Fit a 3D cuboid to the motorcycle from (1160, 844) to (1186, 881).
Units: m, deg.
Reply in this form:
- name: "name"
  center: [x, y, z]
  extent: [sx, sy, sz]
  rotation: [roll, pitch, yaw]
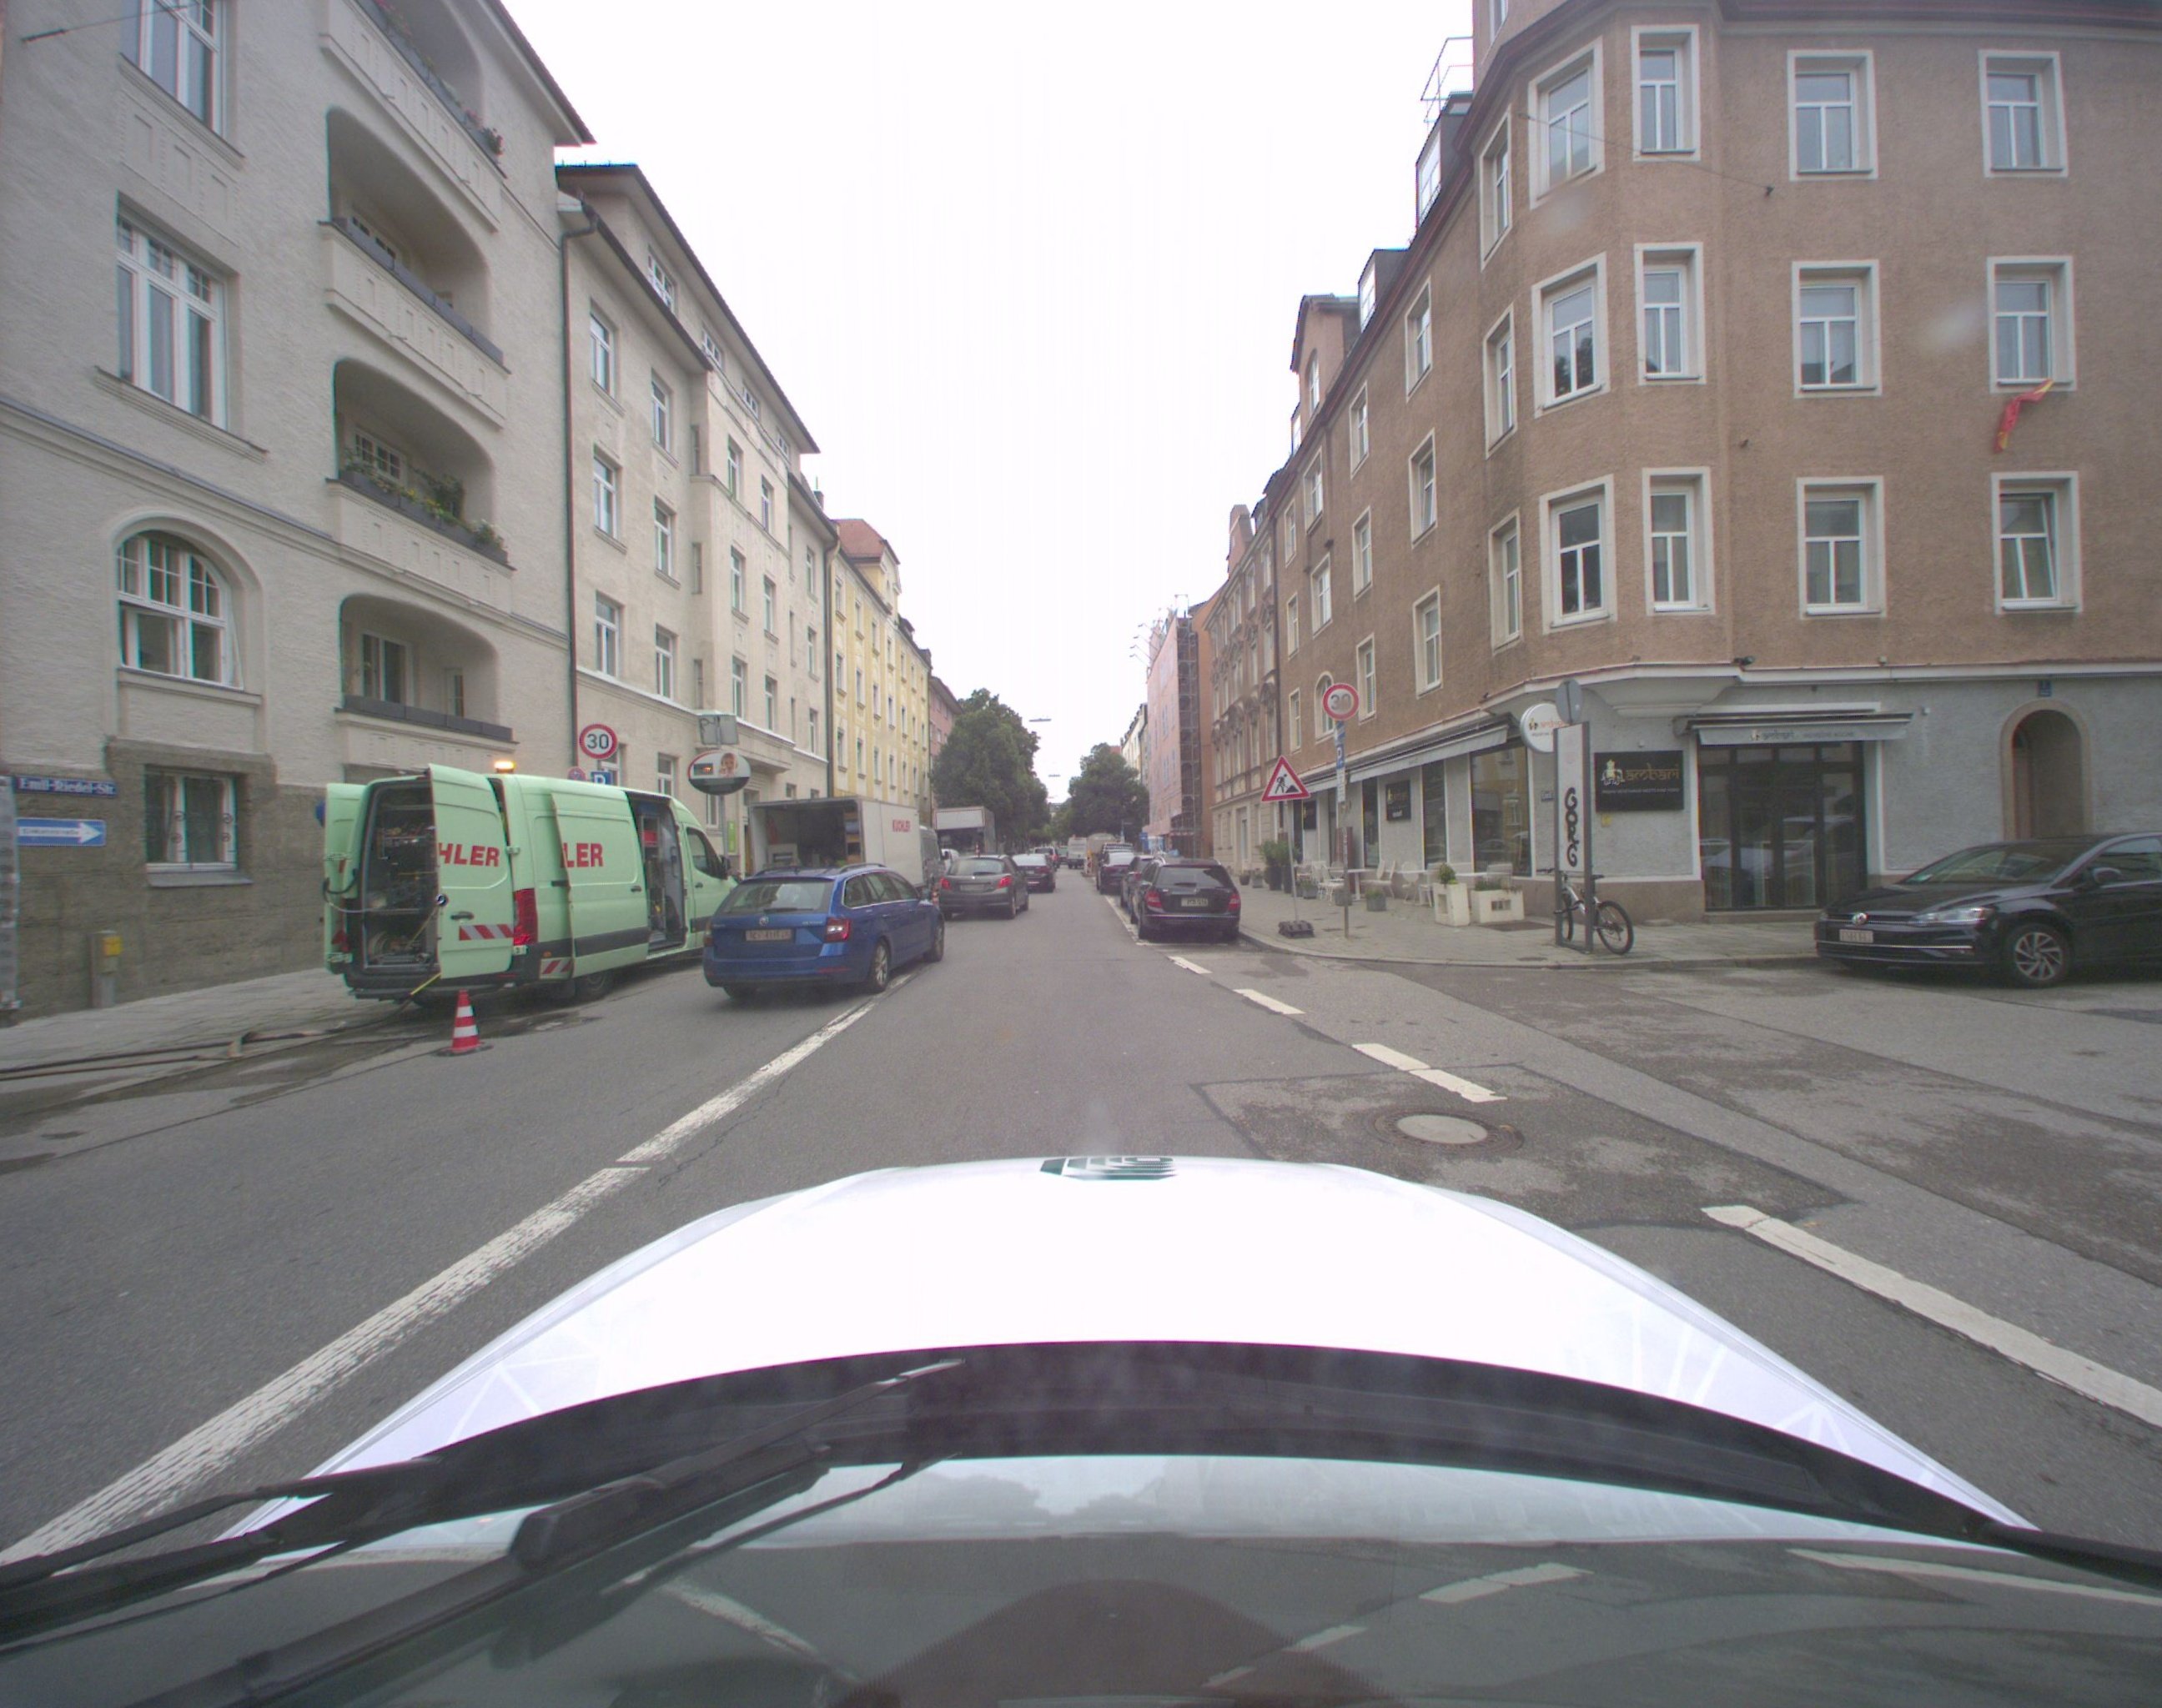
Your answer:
- name: "motorcycle"
  center: [3.889, 0.359, 34.621]
  extent: [0.868, 1.505, 1.997]
  rotation: [-1, 0, 1]

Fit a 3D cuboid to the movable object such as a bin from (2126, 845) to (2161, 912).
- name: "movable object such as a bin"
  center: [16.045, 0.351, 11.745]
  extent: [0.732, 0.950, 0.966]
  rotation: [-2, 1, -8]

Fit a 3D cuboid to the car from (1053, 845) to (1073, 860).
- name: "car"
  center: [-2.017, -0.187, 89.793]
  extent: [2.003, 1.653, 4.342]
  rotation: [0, 1, -3]

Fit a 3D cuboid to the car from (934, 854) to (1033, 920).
- name: "car"
  center: [-2.224, 0.716, 19.551]
  extent: [1.734, 1.422, 3.667]
  rotation: [-1, 0, 3]

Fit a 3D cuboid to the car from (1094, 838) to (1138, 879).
- name: "car"
  center: [1.720, 0.294, 42.167]
  extent: [2.076, 1.921, 5.139]
  rotation: [0, -2, 0]

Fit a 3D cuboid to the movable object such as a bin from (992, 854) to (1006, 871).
- name: "movable object such as a bin"
  center: [-7.051, 0.722, 69.874]
  extent: [1.080, 1.376, 1.082]
  rotation: [-3, 0, -5]

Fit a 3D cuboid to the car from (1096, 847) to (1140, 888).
- name: "car"
  center: [1.575, 0.573, 35.954]
  extent: [1.688, 1.676, 4.407]
  rotation: [1, 0, 0]

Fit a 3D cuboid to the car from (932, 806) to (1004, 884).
- name: "car"
  center: [-6.073, -0.452, 45.013]
  extent: [2.805, 3.817, 8.718]
  rotation: [-2, 0, -1]

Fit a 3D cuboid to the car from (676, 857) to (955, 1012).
- name: "car"
  center: [-2.964, 0.807, 10.192]
  extent: [1.781, 1.460, 4.319]
  rotation: [-2, 0, 4]

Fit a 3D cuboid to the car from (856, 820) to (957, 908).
- name: "car"
  center: [-6.056, 0.310, 29.244]
  extent: [2.050, 2.587, 6.873]
  rotation: [-6, 0, -1]

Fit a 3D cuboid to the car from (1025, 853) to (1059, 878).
- name: "car"
  center: [-2.271, 0.643, 48.730]
  extent: [1.862, 1.348, 4.346]
  rotation: [0, 1, -1]

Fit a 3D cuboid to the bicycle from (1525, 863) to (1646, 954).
- name: "bicycle"
  center: [6.572, 0.664, 10.715]
  extent: [0.494, 1.005, 1.804]
  rotation: [-3, 1, 2]

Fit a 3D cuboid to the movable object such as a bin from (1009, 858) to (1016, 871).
- name: "movable object such as a bin"
  center: [-5.836, 0.897, 69.142]
  extent: [0.545, 1.020, 0.635]
  rotation: [-3, 0, -4]

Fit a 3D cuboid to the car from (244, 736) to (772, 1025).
- name: "car"
  center: [-6.492, 0.219, 10.800]
  extent: [2.134, 2.572, 6.793]
  rotation: [-1, 0, 0]

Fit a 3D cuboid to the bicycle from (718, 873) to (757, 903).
- name: "bicycle"
  center: [-11.223, 1.101, 26.661]
  extent: [0.413, 0.914, 1.759]
  rotation: [2, 0, 4]

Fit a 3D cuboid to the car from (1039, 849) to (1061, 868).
- name: "car"
  center: [-2.728, 0.382, 72.390]
  extent: [1.862, 1.653, 4.346]
  rotation: [0, 1, -1]

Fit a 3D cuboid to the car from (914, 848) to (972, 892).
- name: "car"
  center: [-6.125, 0.664, 36.663]
  extent: [1.757, 1.779, 4.326]
  rotation: [-3, 0, 0]

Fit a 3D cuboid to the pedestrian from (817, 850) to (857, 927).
- name: "pedestrian"
  center: [-5.377, 0.756, 17.949]
  extent: [0.764, 1.631, 0.633]
  rotation: [-2, 0, -20]

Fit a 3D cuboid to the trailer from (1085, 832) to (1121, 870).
- name: "trailer"
  center: [1.661, -0.205, 64.333]
  extent: [2.495, 2.840, 6.898]
  rotation: [0, 0, -1]

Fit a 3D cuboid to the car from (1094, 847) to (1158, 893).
- name: "car"
  center: [1.608, 0.544, 30.760]
  extent: [1.926, 1.553, 5.633]
  rotation: [-1, 0, -2]

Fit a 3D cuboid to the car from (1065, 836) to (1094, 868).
- name: "car"
  center: [-0.076, -0.158, 71.374]
  extent: [2.102, 2.663, 5.507]
  rotation: [0, 0, 5]

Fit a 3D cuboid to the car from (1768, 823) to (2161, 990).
- name: "car"
  center: [9.933, 0.462, 8.531]
  extent: [3.860, 1.487, 1.892]
  rotation: [-2, 0, 0]

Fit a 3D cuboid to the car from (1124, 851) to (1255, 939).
- name: "car"
  center: [1.906, 0.670, 15.770]
  extent: [1.841, 1.405, 4.786]
  rotation: [-1, 0, -1]

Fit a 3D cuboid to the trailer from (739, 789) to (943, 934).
- name: "trailer"
  center: [-5.937, 0.102, 21.749]
  extent: [2.794, 2.968, 7.602]
  rotation: [-5, 1, 1]

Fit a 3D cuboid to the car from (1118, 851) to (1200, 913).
- name: "car"
  center: [1.898, 0.663, 20.986]
  extent: [1.568, 1.394, 4.179]
  rotation: [-2, 0, -2]

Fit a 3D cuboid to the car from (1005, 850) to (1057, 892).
- name: "car"
  center: [-1.853, 0.605, 31.473]
  extent: [1.862, 1.454, 4.344]
  rotation: [0, 1, -2]

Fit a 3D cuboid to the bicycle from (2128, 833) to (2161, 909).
- name: "bicycle"
  center: [16.653, 0.242, 11.696]
  extent: [0.474, 1.143, 1.918]
  rotation: [-2, 0, -16]

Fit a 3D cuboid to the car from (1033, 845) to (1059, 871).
- name: "car"
  center: [-2.650, 0.269, 62.131]
  extent: [1.862, 1.870, 4.346]
  rotation: [0, 1, -1]

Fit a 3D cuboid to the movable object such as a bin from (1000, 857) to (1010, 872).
- name: "movable object such as a bin"
  center: [-6.451, 0.892, 69.061]
  extent: [0.710, 1.148, 0.635]
  rotation: [-3, 0, -5]

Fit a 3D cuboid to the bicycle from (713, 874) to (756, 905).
- name: "bicycle"
  center: [-10.946, 1.097, 25.802]
  extent: [0.392, 0.914, 1.593]
  rotation: [1, 0, 11]
